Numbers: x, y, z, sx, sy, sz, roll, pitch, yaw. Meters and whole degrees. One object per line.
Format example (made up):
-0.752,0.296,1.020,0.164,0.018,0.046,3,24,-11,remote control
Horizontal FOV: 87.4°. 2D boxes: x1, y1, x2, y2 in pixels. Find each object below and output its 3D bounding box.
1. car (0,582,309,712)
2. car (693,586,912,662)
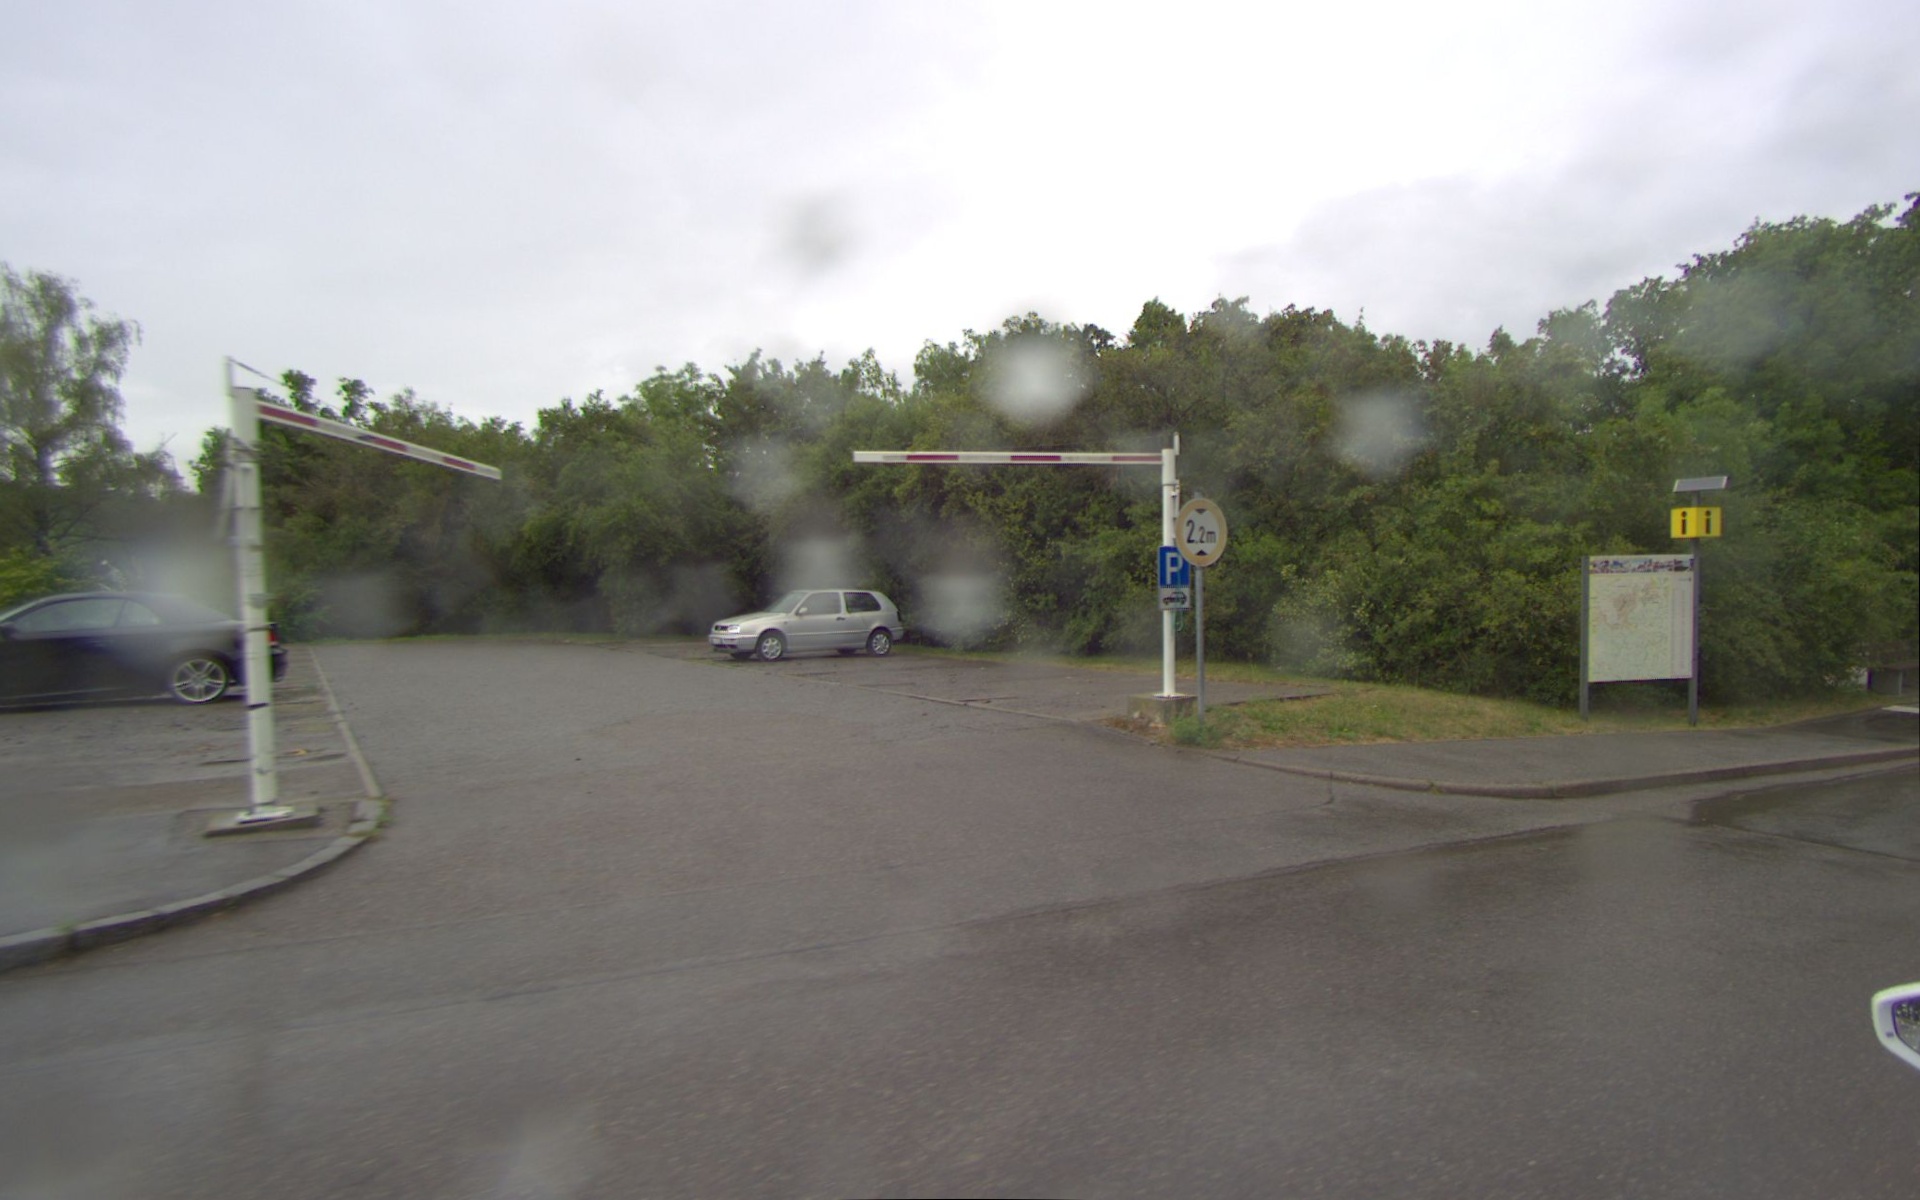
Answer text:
-10.641,0.505,12.301,4.385,1.434,1.980,0,1,-36,car
-3.170,0.430,20.571,4.129,1.417,1.681,0,1,-35,car
